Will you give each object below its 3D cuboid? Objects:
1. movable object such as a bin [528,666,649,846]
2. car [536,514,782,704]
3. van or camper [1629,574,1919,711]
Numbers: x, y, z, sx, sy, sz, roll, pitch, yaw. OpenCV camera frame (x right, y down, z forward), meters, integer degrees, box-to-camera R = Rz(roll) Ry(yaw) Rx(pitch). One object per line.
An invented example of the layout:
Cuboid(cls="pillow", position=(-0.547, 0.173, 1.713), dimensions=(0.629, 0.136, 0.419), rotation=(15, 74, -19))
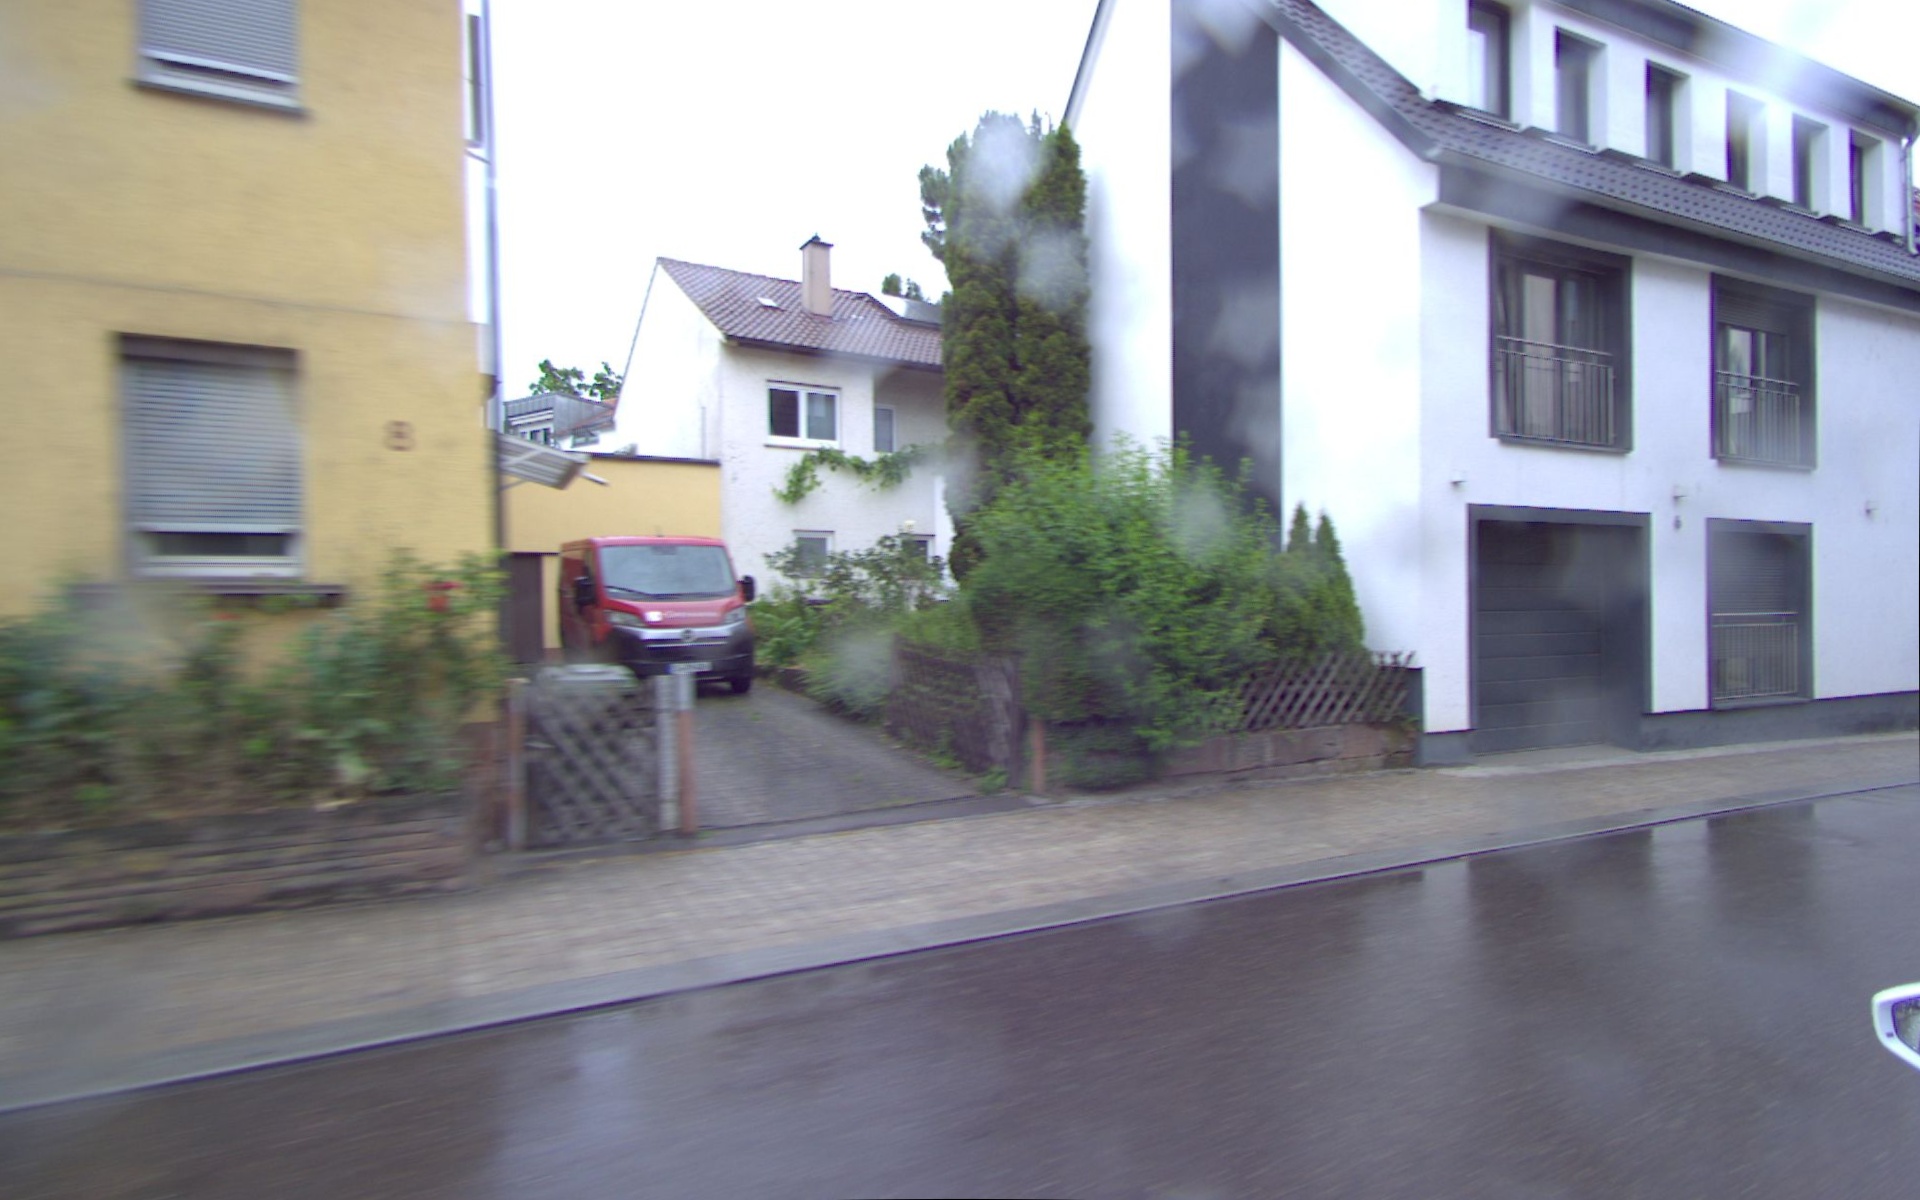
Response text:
Cuboid(cls="movable object such as a bin", position=(-2.505, 1.009, 6.758), dimensions=(0.711, 1.123, 0.656), rotation=(1, -4, -23))
Cuboid(cls="car", position=(-4.741, 0.130, 15.004), dimensions=(2.298, 2.233, 5.876), rotation=(2, -1, -29))
Cuboid(cls="van or camper", position=(15.830, 0.689, 18.898), dimensions=(1.973, 1.959, 5.009), rotation=(2, 4, -24))
